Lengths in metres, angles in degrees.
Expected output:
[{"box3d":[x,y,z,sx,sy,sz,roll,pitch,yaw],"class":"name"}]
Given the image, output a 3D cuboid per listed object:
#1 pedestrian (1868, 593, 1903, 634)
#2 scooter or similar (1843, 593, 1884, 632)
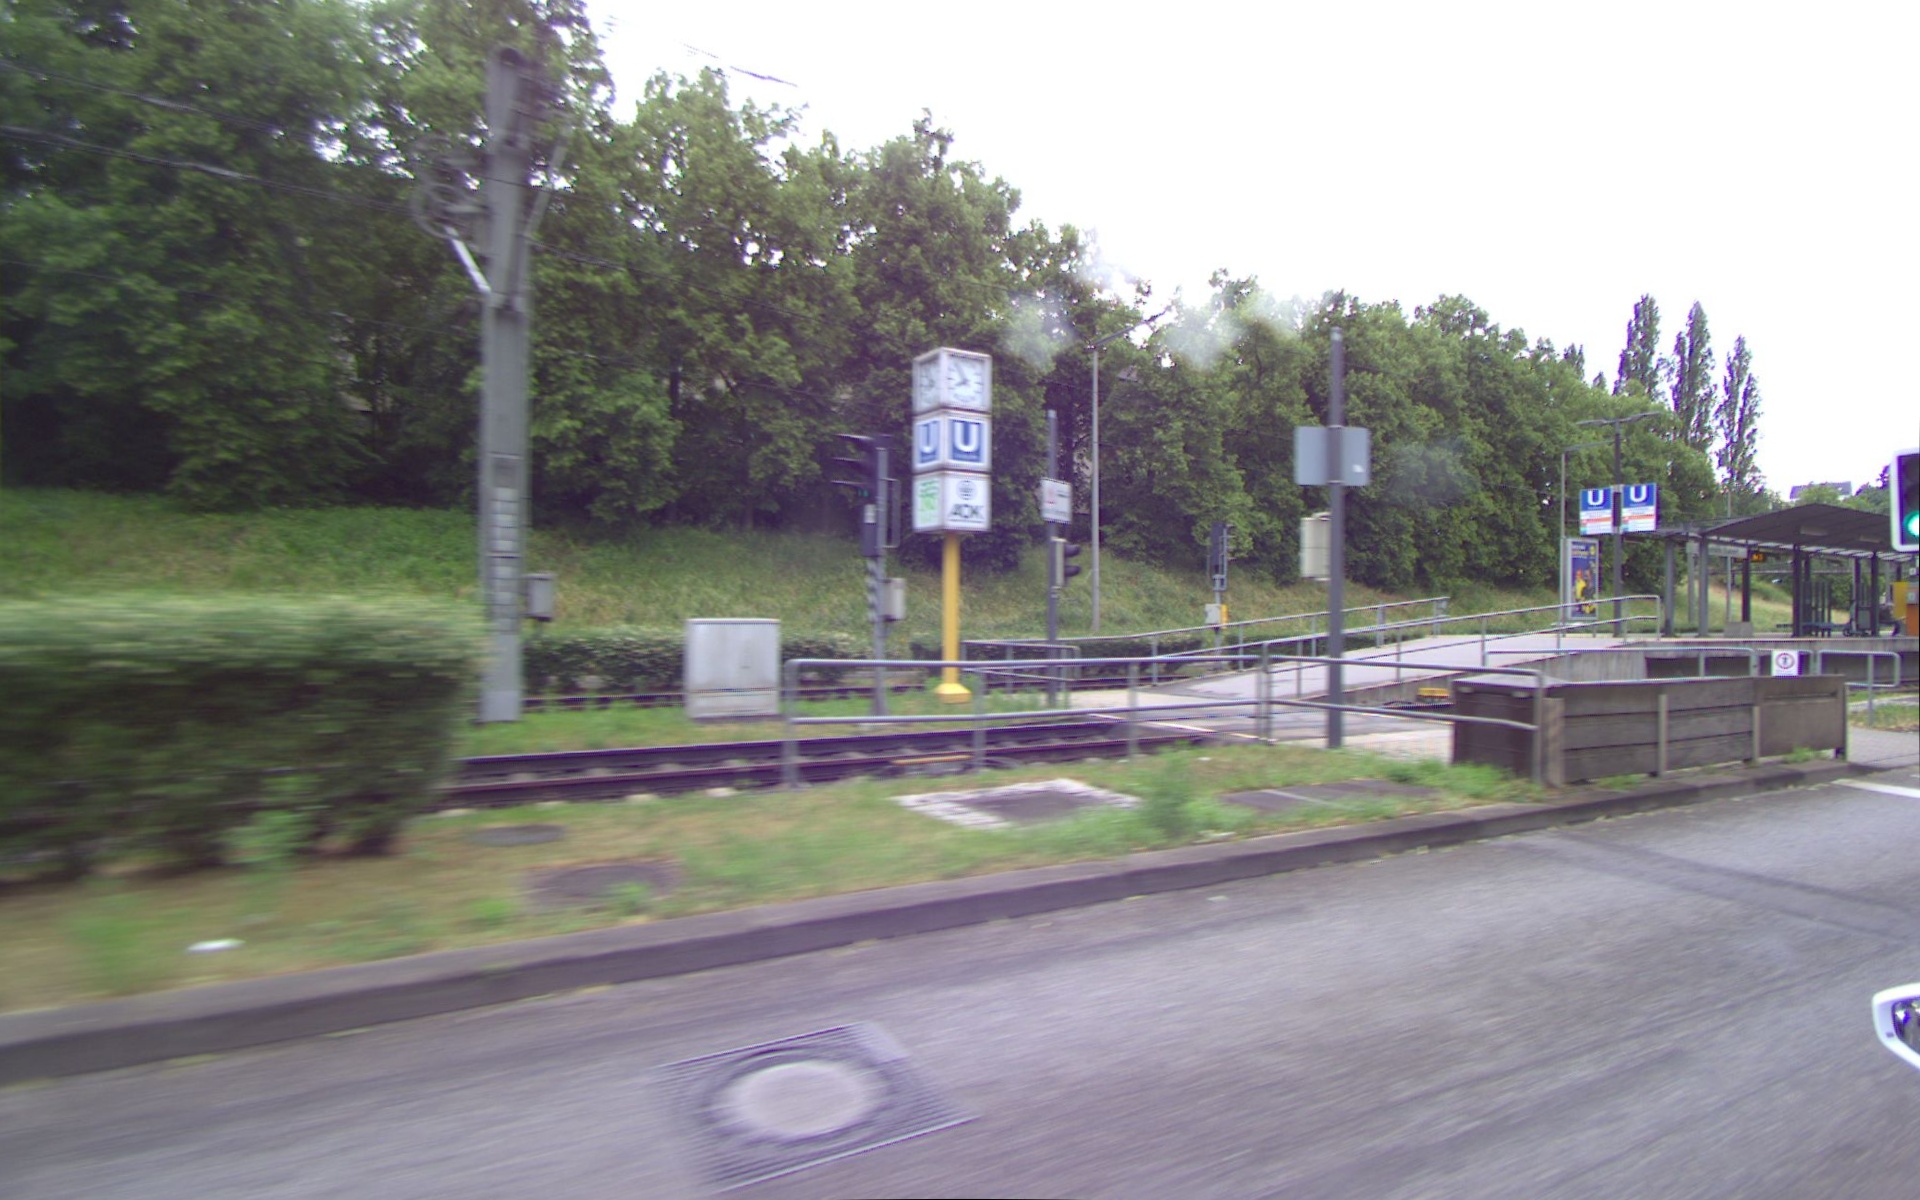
[{"box3d":[31.904,0.464,34.629,0.685,1.374,0.748,1,0,-34],"class":"pedestrian"},{"box3d":[29.625,0.408,32.960,0.372,1.234,1.301,3,1,13],"class":"scooter or similar"}]
